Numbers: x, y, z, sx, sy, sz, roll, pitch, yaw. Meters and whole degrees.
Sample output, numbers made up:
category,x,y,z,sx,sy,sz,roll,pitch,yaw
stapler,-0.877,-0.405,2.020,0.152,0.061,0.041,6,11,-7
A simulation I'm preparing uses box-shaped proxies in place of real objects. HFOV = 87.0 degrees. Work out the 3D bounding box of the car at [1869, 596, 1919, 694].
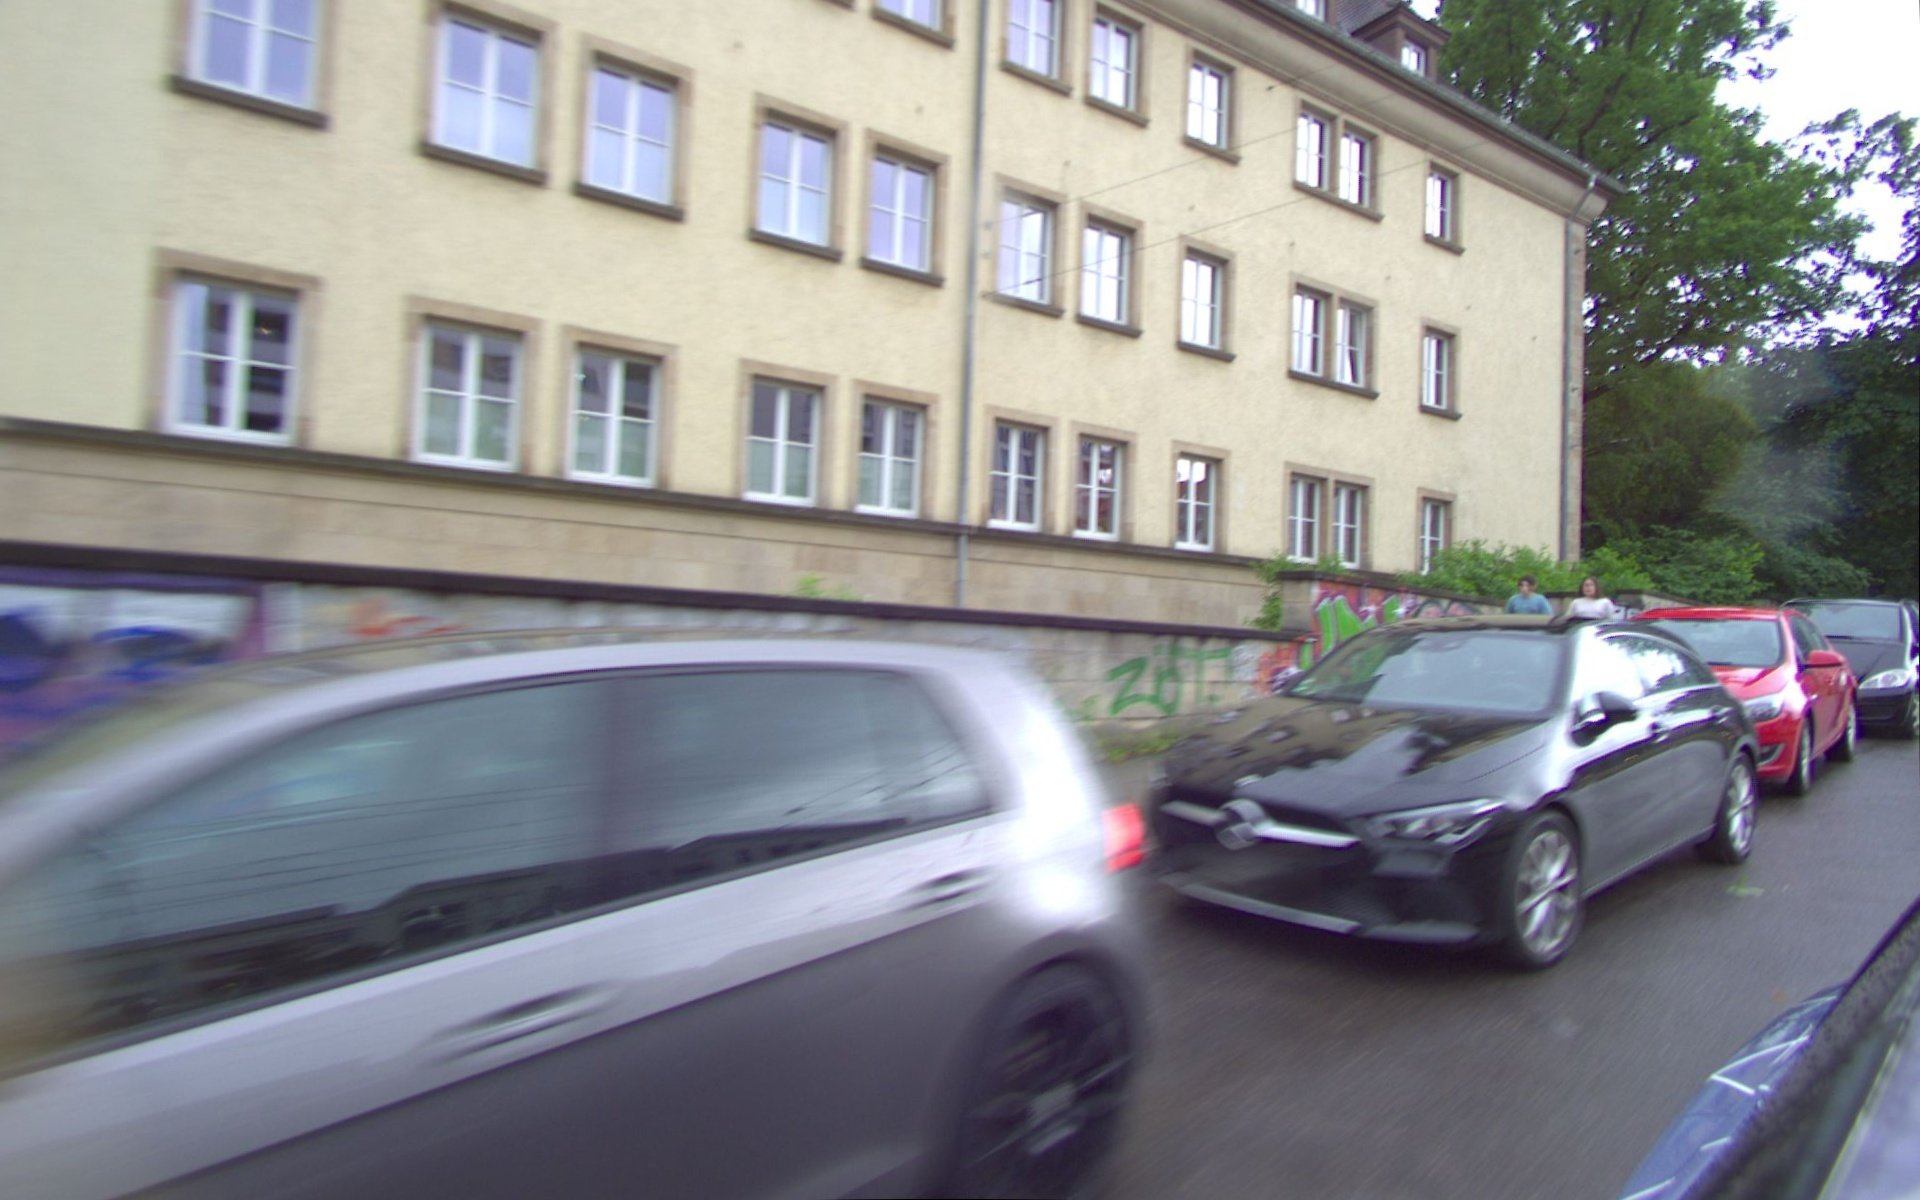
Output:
category,x,y,z,sx,sy,sz,roll,pitch,yaw
car,15.868,0.698,15.846,3.573,1.434,1.542,1,1,-33

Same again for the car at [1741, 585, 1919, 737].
category,x,y,z,sx,sy,sz,roll,pitch,yaw
car,11.310,0.655,12.602,3.786,1.592,1.669,0,1,-39

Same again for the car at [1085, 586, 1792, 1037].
category,x,y,z,sx,sy,sz,roll,pitch,yaw
car,2.820,0.722,5.444,4.376,1.495,1.670,1,1,-39

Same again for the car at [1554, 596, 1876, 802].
category,x,y,z,sx,sy,sz,roll,pitch,yaw
car,7.070,0.732,9.321,3.997,1.495,1.667,0,-1,-43

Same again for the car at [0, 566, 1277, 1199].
category,x,y,z,sx,sy,sz,roll,pitch,yaw
car,-1.157,0.697,2.222,4.037,1.495,1.668,0,1,-41

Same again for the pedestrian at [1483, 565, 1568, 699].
category,x,y,z,sx,sy,sz,roll,pitch,yaw
pedestrian,7.753,0.416,13.888,0.724,1.776,0.721,1,0,-29

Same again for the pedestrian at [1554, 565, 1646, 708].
category,x,y,z,sx,sy,sz,roll,pitch,yaw
pedestrian,8.284,0.451,13.107,0.724,1.776,0.721,1,0,-29
